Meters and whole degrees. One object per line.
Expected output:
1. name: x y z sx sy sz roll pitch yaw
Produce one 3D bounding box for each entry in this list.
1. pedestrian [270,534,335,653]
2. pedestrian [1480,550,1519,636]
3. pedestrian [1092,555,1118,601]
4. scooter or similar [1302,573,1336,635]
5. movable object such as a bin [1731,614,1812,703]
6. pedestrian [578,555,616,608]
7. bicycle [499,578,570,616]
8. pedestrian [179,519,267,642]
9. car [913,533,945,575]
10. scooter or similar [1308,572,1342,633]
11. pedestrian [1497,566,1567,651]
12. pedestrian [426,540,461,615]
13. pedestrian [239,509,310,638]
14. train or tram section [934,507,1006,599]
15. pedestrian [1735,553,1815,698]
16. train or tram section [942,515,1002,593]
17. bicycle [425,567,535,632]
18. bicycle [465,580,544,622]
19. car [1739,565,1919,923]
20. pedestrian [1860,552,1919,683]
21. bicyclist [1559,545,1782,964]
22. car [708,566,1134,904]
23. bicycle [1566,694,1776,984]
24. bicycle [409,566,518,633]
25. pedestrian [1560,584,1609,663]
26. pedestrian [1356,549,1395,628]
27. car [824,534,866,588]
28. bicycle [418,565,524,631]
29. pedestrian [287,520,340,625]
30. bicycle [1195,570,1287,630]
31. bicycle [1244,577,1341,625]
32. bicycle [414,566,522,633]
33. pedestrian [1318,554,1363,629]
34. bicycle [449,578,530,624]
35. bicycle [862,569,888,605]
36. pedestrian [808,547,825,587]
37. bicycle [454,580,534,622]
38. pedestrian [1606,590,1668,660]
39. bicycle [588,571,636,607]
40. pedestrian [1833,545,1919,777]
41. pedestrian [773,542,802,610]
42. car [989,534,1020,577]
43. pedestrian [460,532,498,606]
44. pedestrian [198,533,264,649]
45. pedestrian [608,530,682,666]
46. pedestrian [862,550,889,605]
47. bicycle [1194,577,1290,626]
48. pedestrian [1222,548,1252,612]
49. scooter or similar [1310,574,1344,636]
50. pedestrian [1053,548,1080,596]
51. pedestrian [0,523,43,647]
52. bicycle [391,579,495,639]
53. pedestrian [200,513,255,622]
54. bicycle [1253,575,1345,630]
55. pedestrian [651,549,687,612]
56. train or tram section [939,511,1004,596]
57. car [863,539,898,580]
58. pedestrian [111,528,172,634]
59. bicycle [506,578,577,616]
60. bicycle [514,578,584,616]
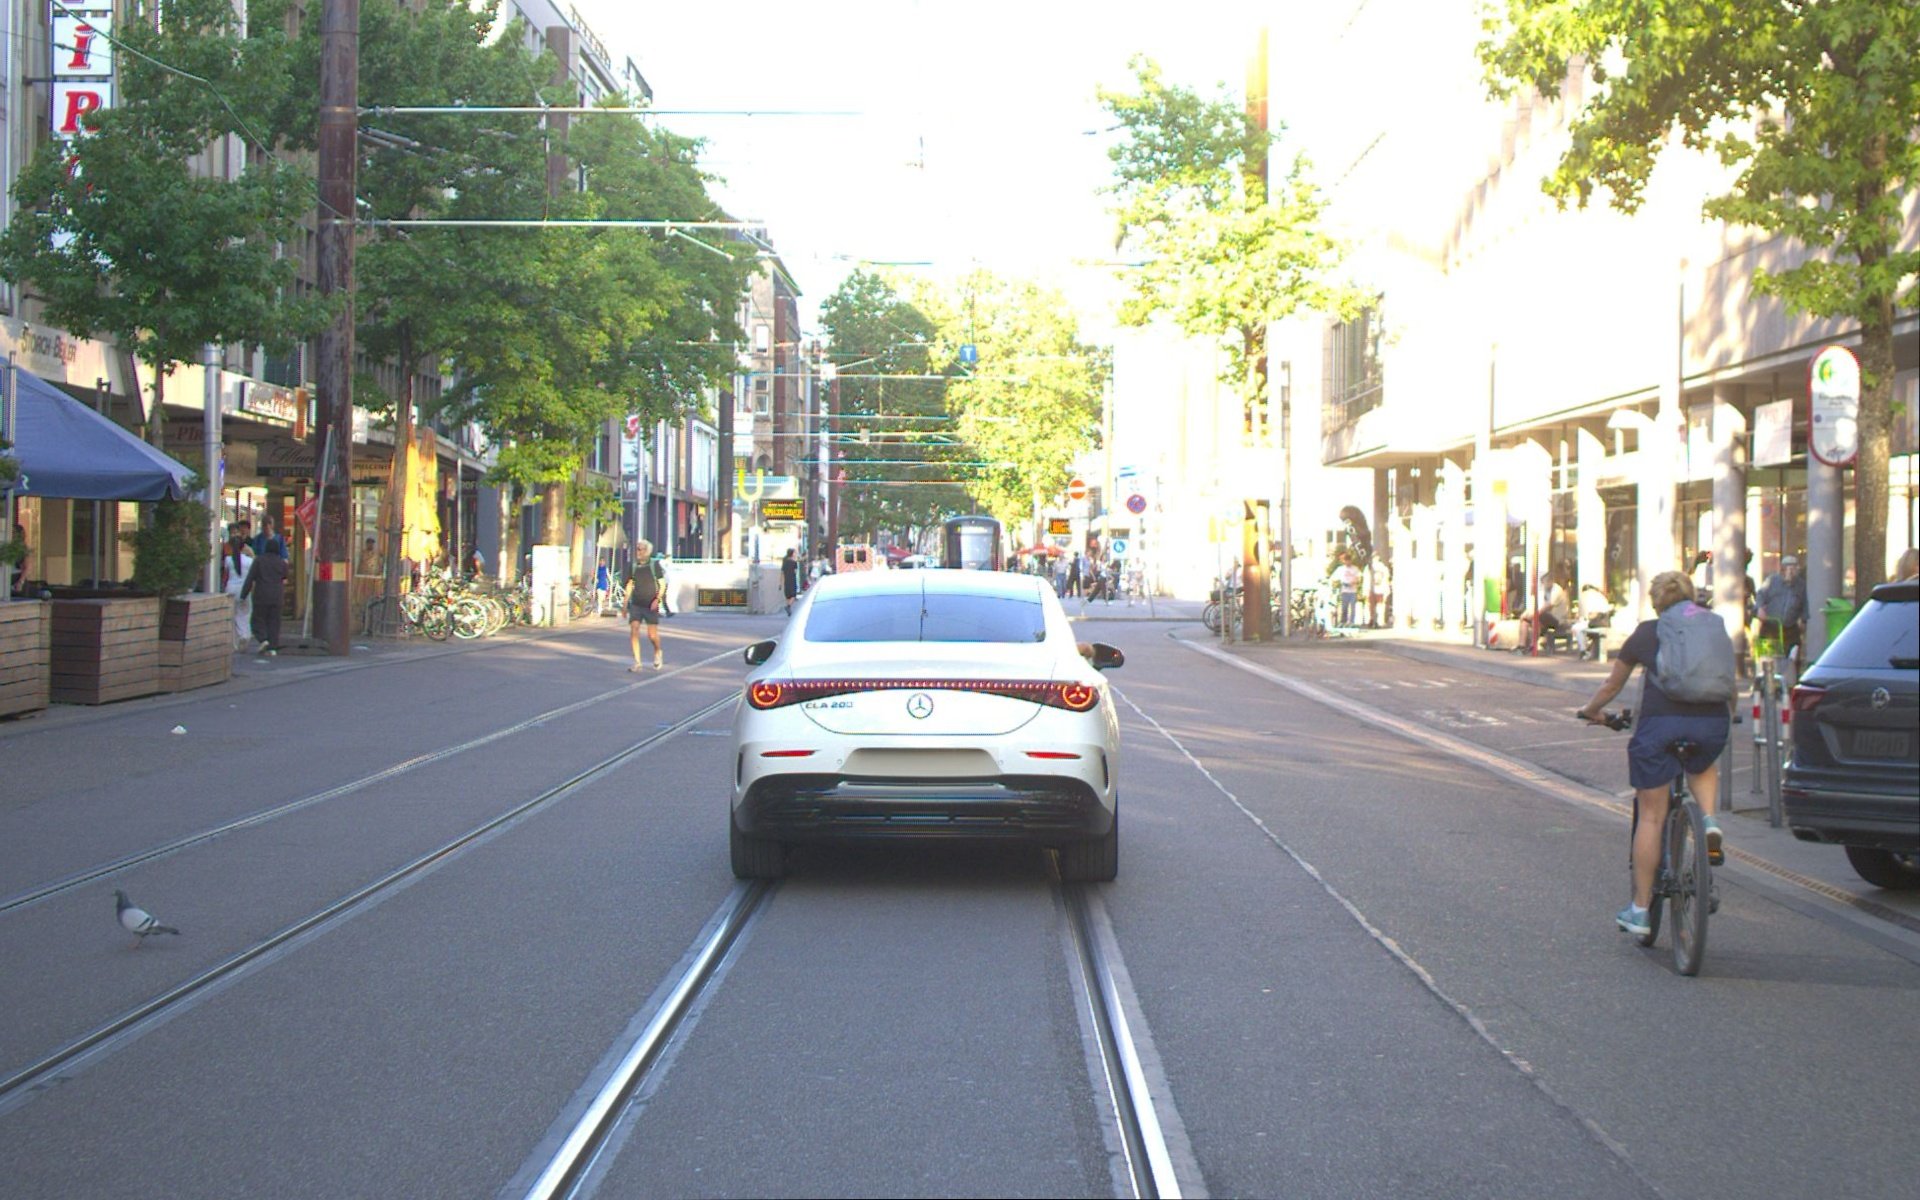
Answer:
1. pedestrian: -8.802 -0.091 46.039 0.622 1.545 0.852 3 1 1
2. pedestrian: 10.404 -0.143 66.314 0.637 1.647 0.781 1 1 2
3. pedestrian: 5.619 -0.858 133.464 0.960 1.779 0.804 -1 1 0
4. scooter or similar: 7.479 0.076 71.634 0.527 1.273 0.660 -1 1 -11
5. movable object such as a bin: 8.849 0.629 37.497 0.690 0.921 0.718 2 1 1
6. pedestrian: -10.215 -0.523 96.794 0.955 1.491 0.944 1 1 1
7. bicycle: -9.294 -0.064 75.081 1.493 0.780 0.344 2 1 2
8. pedestrian: -10.627 -0.281 49.580 0.850 1.735 0.834 3 1 21
9. car: -2.132 -3.185 238.341 2.099 2.887 5.275 0 1 1
10. scooter or similar: 7.665 0.053 72.266 0.527 1.273 0.660 -1 1 -11
11. pedestrian: 9.426 0.139 56.690 0.833 1.372 0.778 1 1 -22
12. pedestrian: -11.305 -0.487 75.227 0.714 1.634 0.685 0 1 -5
13. pedestrian: -10.513 -0.418 52.746 0.800 1.917 1.071 3 1 -2
14. train or tram section: 0.414 -1.861 137.004 2.694 3.504 12.545 0 1 0
15. pedestrian: 9.023 0.279 38.090 0.681 1.567 0.632 2 1 1
16. train or tram section: 0.603 -2.160 161.396 2.694 3.504 11.143 0 1 0
17. bicycle: -8.440 -0.014 60.474 1.846 1.073 0.377 2 1 -3
18. bicycle: -9.028 0.017 68.157 1.493 0.780 0.344 2 1 2
19. car: 6.164 0.616 17.350 4.342 1.646 1.695 -2 1 -30
20. pedestrian: 11.521 0.204 42.183 0.696 1.583 0.925 1 1 1
21. bicyclist: 2.872 0.601 13.981 0.778 1.607 0.912 3 1 9
22. car: -0.163 0.572 17.174 1.857 1.450 4.175 1 1 0
23. bicycle: 2.894 0.940 14.146 0.719 0.992 2.058 3 1 9
24. bicycle: -8.504 -0.008 58.872 1.788 1.073 0.377 2 1 -3
25. pedestrian: 9.668 0.360 53.234 0.666 1.194 0.784 1 1 5
26. pedestrian: 9.754 -0.267 80.799 0.701 1.806 1.033 -3 1 0
27. car: -6.274 -2.131 187.670 1.993 2.887 5.275 0 1 1
28. bicycle: -8.970 -0.036 63.078 1.846 1.137 0.377 2 1 2
29. pedestrian: -10.977 -0.463 58.425 0.622 1.741 0.933 3 1 1
30. bicycle: 6.243 -0.005 76.370 1.908 1.277 0.610 -1 0 -10
31. bicycle: 7.612 0.031 78.667 2.113 1.092 0.610 0 0 -12
32. bicycle: -8.489 -0.010 59.330 1.788 1.073 0.377 2 1 -3
33. pedestrian: 8.994 -0.205 81.255 0.899 1.739 0.689 -3 1 0
34. bicycle: -9.146 0.021 66.805 1.493 0.838 0.344 2 1 2
35. bicycle: -2.821 -0.432 114.293 0.800 1.138 2.257 2 1 -1
36. pedestrian: -5.798 -1.333 138.724 0.660 1.593 0.573 1 1 -1
37. bicycle: -9.156 0.017 67.505 1.493 0.780 0.344 2 1 2
38. pedestrian: 10.192 0.373 51.783 0.836 1.027 0.696 1 1 5
39. bicycle: -10.075 -0.324 99.494 0.719 1.006 2.038 1 1 14
40. pedestrian: 6.909 0.440 25.342 0.680 1.679 0.694 -1 1 34
41. pedestrian: -4.896 -0.684 97.617 0.540 1.922 0.571 1 1 44
42. car: 3.068 -3.091 238.581 2.099 2.887 5.285 0 1 1
43. pedestrian: -11.501 -0.745 82.173 0.785 1.760 0.537 0 1 -24
44. pedestrian: -9.771 -0.126 46.113 0.622 1.504 0.833 3 1 1
45. pedestrian: -4.276 -0.033 46.714 0.841 1.795 0.790 2 1 2
46. pedestrian: -2.806 -0.744 114.256 0.800 1.776 0.849 2 0 -1
47. bicycle: 6.504 0.039 79.352 2.113 1.092 0.610 1 0 -10
48. pedestrian: 7.830 -0.564 97.153 0.748 1.779 0.767 -1 1 0
49. scooter or similar: 7.580 0.101 71.023 0.491 1.273 0.660 -1 1 -11
50. pedestrian: 3.993 -1.050 129.009 0.960 1.779 0.804 -1 1 0
51. pedestrian: -11.886 -0.191 42.993 0.597 1.527 0.671 2 1 1
52. bicycle: -8.431 0.143 56.068 1.596 0.927 0.377 2 1 7
53. pedestrian: -12.360 -0.553 58.017 0.622 1.798 0.933 3 1 1
54. bicycle: 7.444 0.052 75.544 1.908 1.152 0.610 -1 0 -10
55. pedestrian: -7.986 -0.540 94.388 0.905 1.693 0.849 1 1 1
56. train or tram section: 0.515 -2.017 149.556 2.694 3.504 12.545 0 1 0
57. car: -4.775 -2.432 206.336 1.910 2.452 5.275 0 1 1
58. pedestrian: -12.070 -0.288 50.737 0.622 1.520 0.809 3 1 1
59. bicycle: -9.269 -0.060 76.156 1.493 0.780 0.344 2 1 2
60. bicycle: -9.143 -0.063 76.517 1.493 0.780 0.344 2 1 2
